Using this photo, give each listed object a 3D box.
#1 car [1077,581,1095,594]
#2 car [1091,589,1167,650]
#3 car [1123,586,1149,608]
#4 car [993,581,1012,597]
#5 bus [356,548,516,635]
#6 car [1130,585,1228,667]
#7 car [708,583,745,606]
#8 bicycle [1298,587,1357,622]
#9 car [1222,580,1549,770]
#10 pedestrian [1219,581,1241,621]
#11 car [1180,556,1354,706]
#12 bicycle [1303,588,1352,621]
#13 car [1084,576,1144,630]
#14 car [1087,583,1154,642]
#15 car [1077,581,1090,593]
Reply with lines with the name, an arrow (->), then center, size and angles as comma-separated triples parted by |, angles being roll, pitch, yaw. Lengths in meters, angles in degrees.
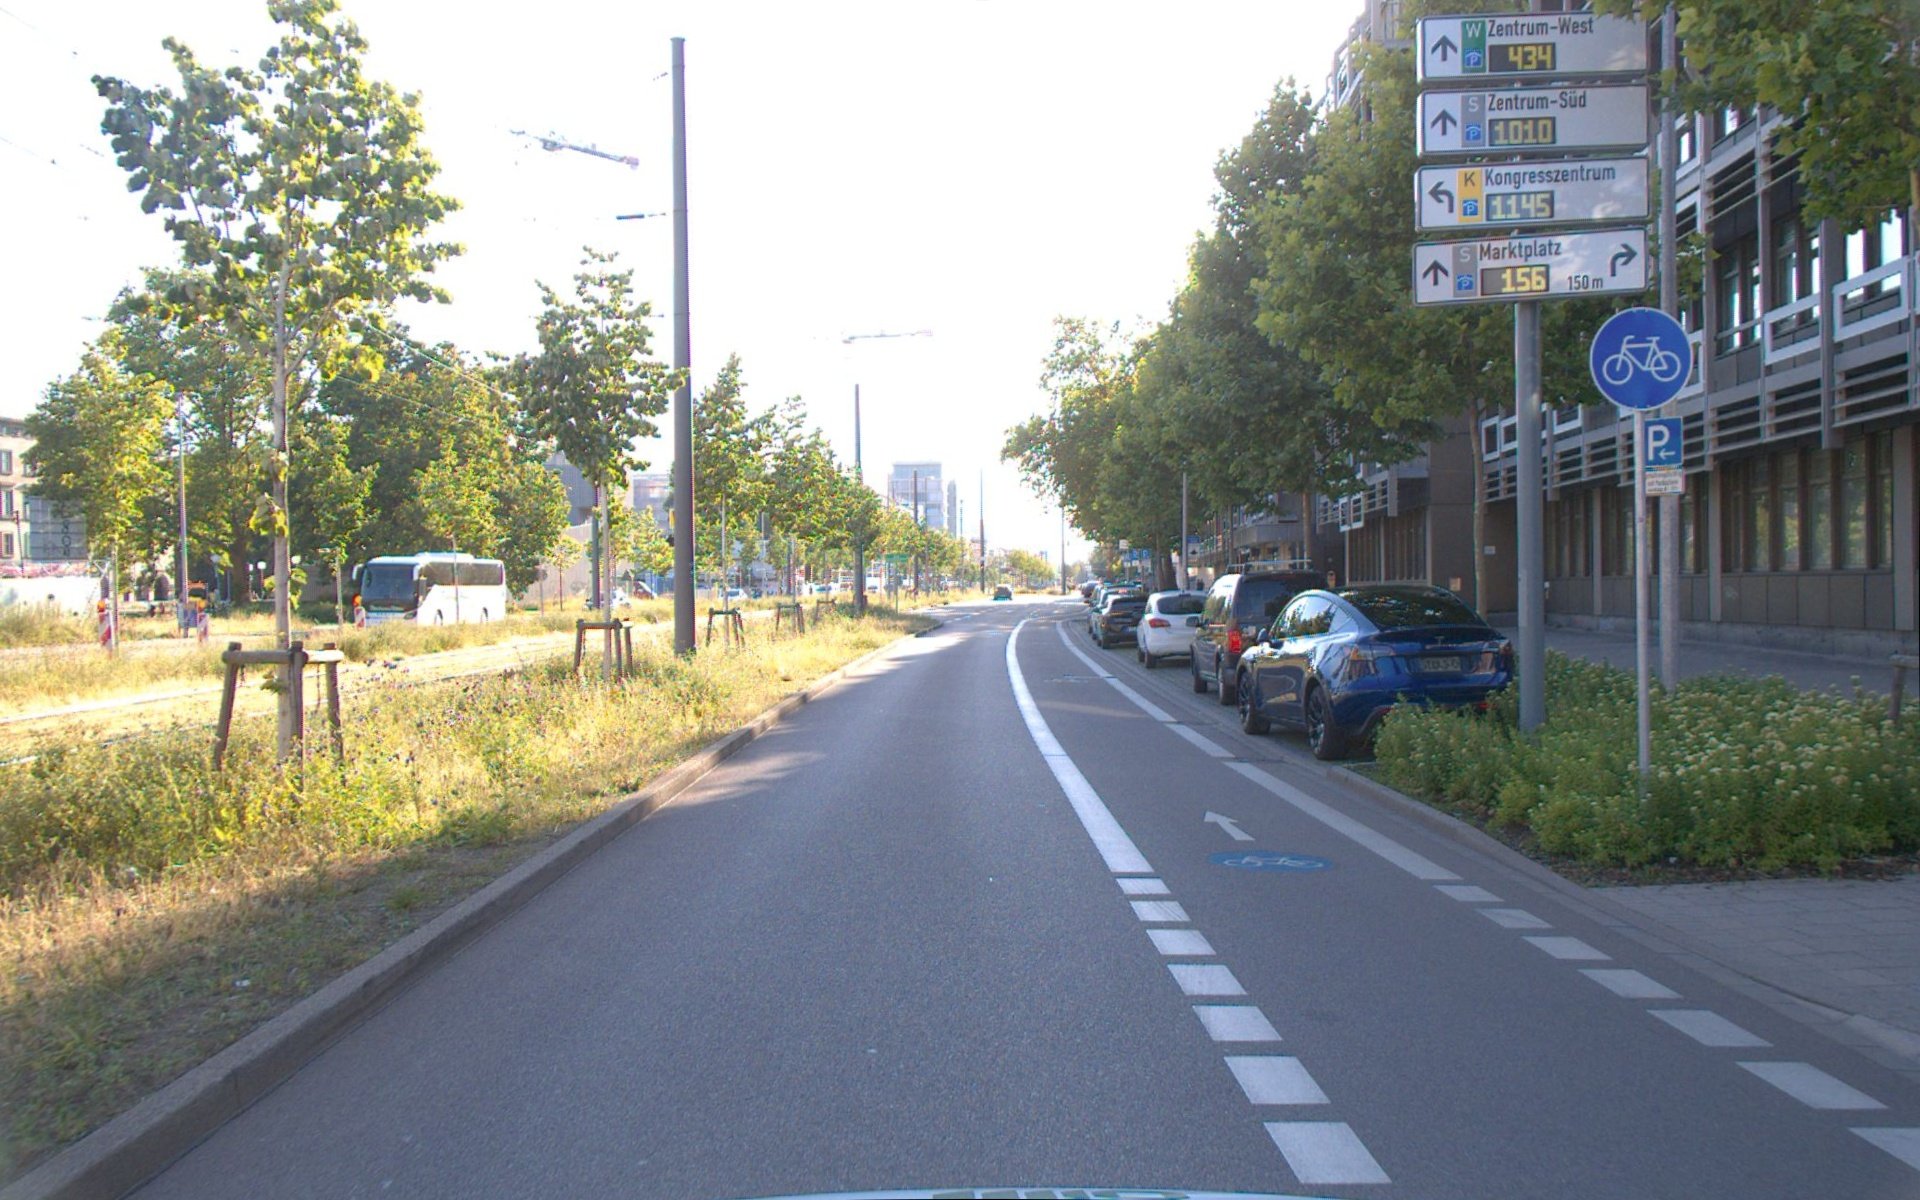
car -> 13.938, -1.391, 183.144 | 1.899, 1.453, 3.927 | -1, 1, 3
car -> 4.599, 0.502, 45.499 | 1.757, 1.474, 4.378 | -3, 1, 2
car -> 12.530, -0.202, 118.027 | 1.670, 1.443, 4.279 | -3, 0, 5
car -> 4.068, -1.066, 159.167 | 1.739, 1.453, 4.002 | 0, 1, 3
bus -> -23.813, -0.396, 76.121 | 2.740, 3.657, 12.703 | 0, 0, 3
car -> 4.498, 0.499, 34.461 | 1.629, 1.516, 4.205 | -3, 1, 3
car -> -17.087, -0.413, 121.186 | 1.952, 1.671, 4.169 | 0, 0, 2
bicycle -> 12.374, 0.164, 55.727 | 1.862, 1.112, 0.392 | -2, 0, -3
car -> 4.236, 0.659, 17.330 | 1.893, 1.626, 4.695 | -3, 1, -4
pedestrian -> 11.809, 0.042, 72.385 | 0.773, 1.677, 1.137 | -2, 0, 3
car -> 4.450, 0.396, 24.608 | 1.699, 1.952, 4.393 | -3, 1, 0
bicycle -> 12.878, 0.150, 57.987 | 1.592, 1.101, 0.392 | -2, 0, 4
car -> 5.285, 0.086, 57.060 | 1.692, 1.717, 4.515 | -3, 1, 1
car -> 4.915, 0.350, 51.128 | 1.692, 1.650, 4.217 | -3, 1, 1
car -> 16.670, -1.769, 222.992 | 1.722, 1.510, 3.851 | -1, 1, 3
